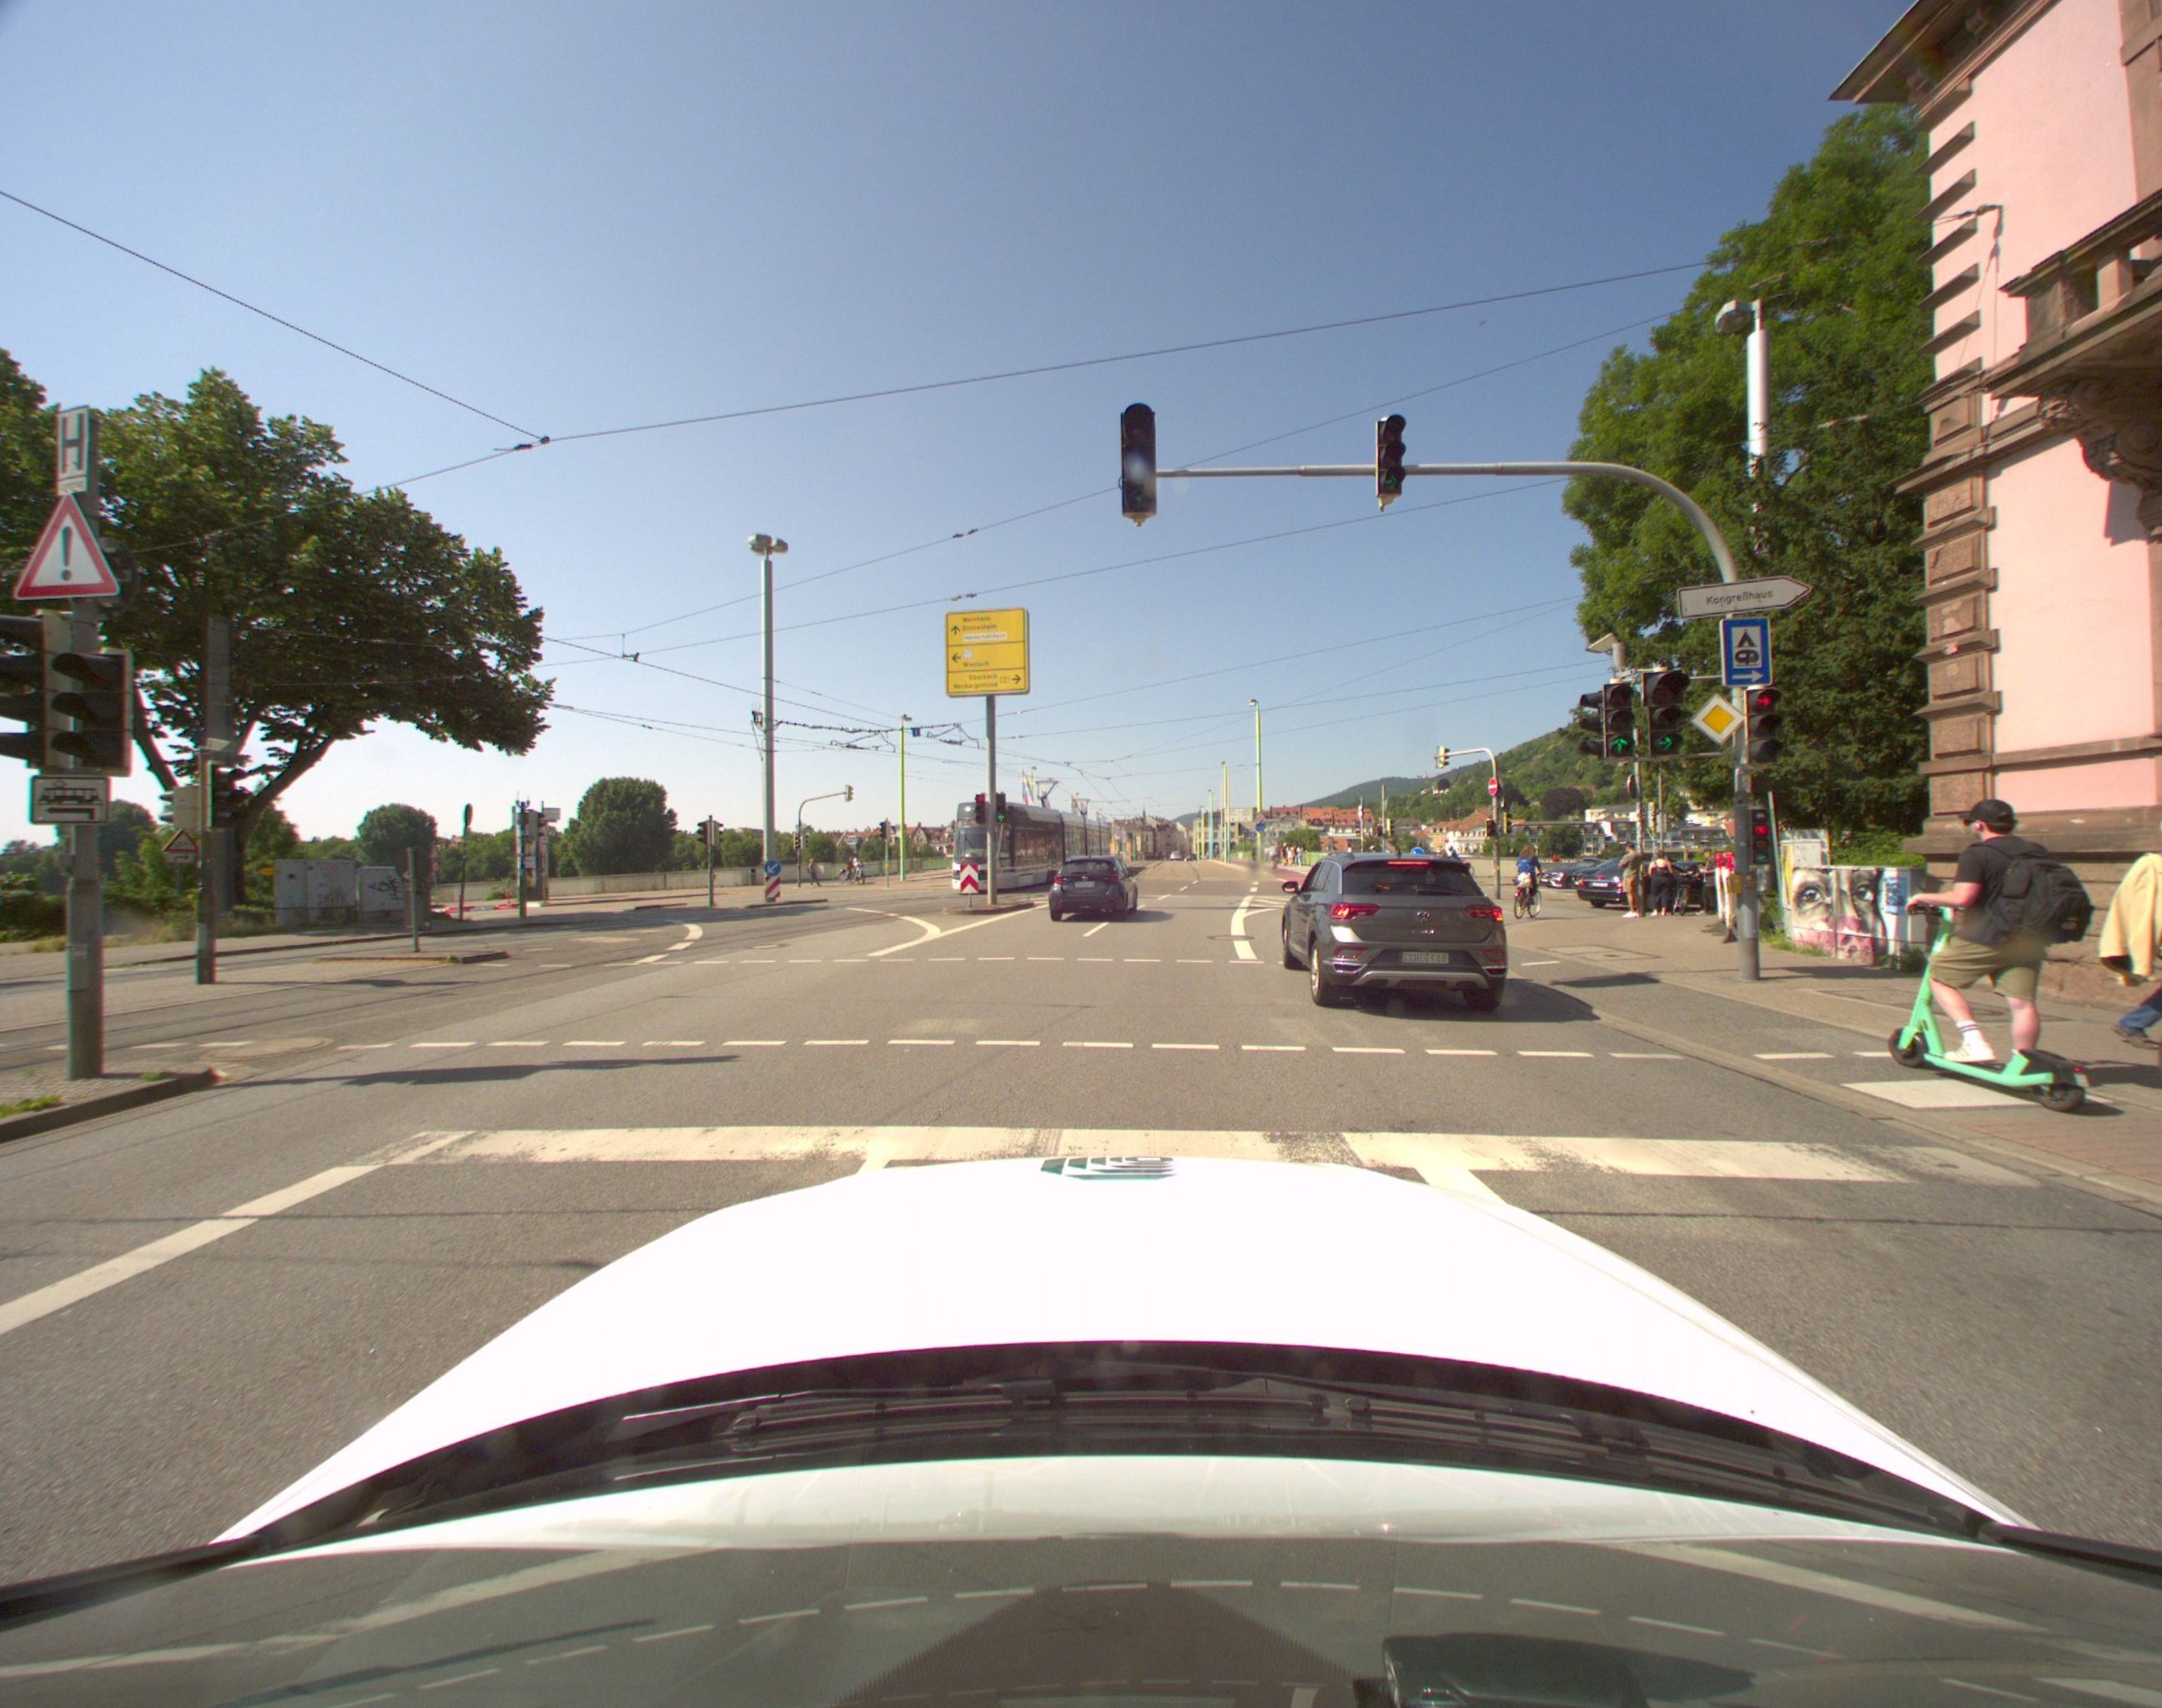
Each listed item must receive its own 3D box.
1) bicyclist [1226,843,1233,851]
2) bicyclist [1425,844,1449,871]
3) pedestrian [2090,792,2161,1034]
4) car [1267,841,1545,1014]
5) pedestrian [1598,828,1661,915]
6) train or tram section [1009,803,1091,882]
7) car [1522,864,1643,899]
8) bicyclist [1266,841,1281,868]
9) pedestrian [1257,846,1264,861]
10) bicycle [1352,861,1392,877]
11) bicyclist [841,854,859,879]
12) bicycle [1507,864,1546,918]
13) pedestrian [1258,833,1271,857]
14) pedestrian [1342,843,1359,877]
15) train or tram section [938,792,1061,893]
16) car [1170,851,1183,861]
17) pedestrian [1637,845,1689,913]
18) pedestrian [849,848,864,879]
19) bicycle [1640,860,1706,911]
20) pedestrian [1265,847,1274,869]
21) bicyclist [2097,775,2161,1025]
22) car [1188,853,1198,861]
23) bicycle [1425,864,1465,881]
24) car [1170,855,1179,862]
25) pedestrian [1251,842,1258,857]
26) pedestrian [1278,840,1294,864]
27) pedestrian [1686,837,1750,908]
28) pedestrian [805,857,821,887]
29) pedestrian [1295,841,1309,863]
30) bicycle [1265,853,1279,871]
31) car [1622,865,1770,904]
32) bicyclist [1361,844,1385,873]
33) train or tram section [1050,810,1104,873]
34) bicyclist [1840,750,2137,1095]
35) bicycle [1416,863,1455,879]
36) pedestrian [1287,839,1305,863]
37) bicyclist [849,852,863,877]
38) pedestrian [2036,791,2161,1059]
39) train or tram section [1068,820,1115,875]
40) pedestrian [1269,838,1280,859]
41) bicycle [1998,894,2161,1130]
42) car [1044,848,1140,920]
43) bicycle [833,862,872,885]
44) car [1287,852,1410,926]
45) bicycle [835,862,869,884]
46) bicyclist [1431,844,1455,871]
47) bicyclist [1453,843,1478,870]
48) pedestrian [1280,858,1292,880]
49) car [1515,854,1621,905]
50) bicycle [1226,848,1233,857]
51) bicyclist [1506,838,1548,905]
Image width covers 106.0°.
[{"bbox_3d":[20.462,-0.942,112.366,0.664,1.045,0.980,-4,0,1],"label":"bicyclist"},{"bbox_3d":[19.695,0.174,45.082,1.072,1.474,0.931,1,1,13],"label":"bicyclist"},{"bbox_3d":[8.165,0.416,5.826,0.703,1.753,0.903,-2,-1,0],"label":"pedestrian"},{"bbox_3d":[3.344,0.655,9.277,1.920,1.516,4.000,-2,0,6],"label":"car"},{"bbox_3d":[13.288,0.412,19.749,0.772,2.013,1.060,-2,0,1],"label":"pedestrian"},{"bbox_3d":[-1.451,-0.624,44.238,2.522,3.777,9.195,-1,1,10],"label":"train or tram section"},{"bbox_3d":[22.871,1.234,37.242,4.463,1.395,1.844,-2,0,-4],"label":"car"},{"bbox_3d":[12.405,0.040,52.482,0.670,1.744,1.151,-1,0,2],"label":"bicyclist"},{"bbox_3d":[18.387,-0.052,83.318,0.646,1.562,0.693,-2,0,8],"label":"pedestrian"},{"bbox_3d":[15.375,0.779,43.067,1.926,0.827,0.567,1,1,10],"label":"bicycle"},{"bbox_3d":[-13.946,0.745,49.116,1.005,1.449,0.811,-2,0,-16],"label":"bicyclist"},{"bbox_3d":[10.586,0.842,19.333,0.609,1.164,2.264,-1,0,34],"label":"bicycle"},{"bbox_3d":[15.234,-0.725,67.683,0.800,2.014,0.954,-1,-1,1],"label":"pedestrian"},{"bbox_3d":[14.911,0.309,45.042,0.769,1.855,0.646,0,0,9],"label":"pedestrian"},{"bbox_3d":[-3.209,-0.474,35.351,2.520,3.777,9.200,-1,0,12],"label":"train or tram section"},{"bbox_3d":[15.621,0.324,133.211,1.796,1.469,4.004,-2,-1,4],"label":"car"},{"bbox_3d":[14.917,0.626,20.887,0.671,1.710,0.893,-2,0,3],"label":"pedestrian"},{"bbox_3d":[-14.856,0.631,53.939,0.900,2.013,0.830,-2,0,-16],"label":"pedestrian"},{"bbox_3d":[14.990,0.819,20.695,0.793,1.206,2.286,-4,-4,23],"label":"bicycle"},{"bbox_3d":[15.168,0.331,65.552,0.547,1.799,0.646,-1,-1,1],"label":"pedestrian"},{"bbox_3d":[5.710,0.213,3.716,0.917,1.219,0.972,-2,0,0],"label":"bicyclist"},{"bbox_3d":[22.163,0.656,161.546,1.793,1.469,4.010,-2,-1,9],"label":"car"},{"bbox_3d":[19.677,0.995,44.061,1.920,0.853,0.569,1,1,30],"label":"bicycle"},{"bbox_3d":[23.953,1.112,209.104,1.984,1.717,4.005,-1,0,4],"label":"car"},{"bbox_3d":[20.835,-0.511,97.800,0.652,1.743,0.978,-1,1,0],"label":"pedestrian"},{"bbox_3d":[15.208,-0.158,60.436,0.981,1.750,0.930,-1,-1,0],"label":"pedestrian"},{"bbox_3d":[16.438,0.483,21.025,1.056,1.781,0.699,0,-4,-9],"label":"pedestrian"},{"bbox_3d":[-15.632,1.050,47.532,0.836,1.697,1.091,-2,0,-18],"label":"pedestrian"},{"bbox_3d":[16.323,-0.140,60.183,0.796,1.635,0.950,-1,0,1],"label":"pedestrian"},{"bbox_3d":[12.610,0.517,53.750,0.787,1.096,3.757,-1,0,12],"label":"bicycle"},{"bbox_3d":[23.049,1.119,30.620,4.293,1.357,1.880,0,1,-4],"label":"car"},{"bbox_3d":[15.459,0.222,43.116,1.073,1.474,0.803,1,1,10],"label":"bicyclist"},{"bbox_3d":[-0.118,-0.819,53.403,2.391,3.681,9.636,-1,1,6],"label":"train or tram section"},{"bbox_3d":[5.756,0.405,5.235,0.938,2.013,0.830,-2,0,0],"label":"bicyclist"},{"bbox_3d":[19.630,0.939,45.128,1.926,0.827,0.567,1,1,10],"label":"bicycle"},{"bbox_3d":[16.417,-0.219,62.169,0.981,1.769,1.254,-2,0,1],"label":"pedestrian"},{"bbox_3d":[-13.828,0.618,50.055,0.825,1.493,0.872,-2,0,-15],"label":"bicyclist"},{"bbox_3d":[7.469,0.458,5.599,0.703,1.769,0.903,-2,0,0],"label":"pedestrian"},{"bbox_3d":[0.968,-0.557,62.409,2.457,3.777,11.871,-1,1,6],"label":"train or tram section"},{"bbox_3d":[15.746,-0.458,66.191,0.693,1.716,0.732,-1,-1,0],"label":"pedestrian"},{"bbox_3d":[5.749,0.809,3.682,0.776,1.102,2.138,-3,0,0],"label":"bicycle"},{"bbox_3d":[0.376,0.657,19.816,1.900,1.540,4.007,-1,0,6],"label":"car"},{"bbox_3d":[-13.793,1.157,49.158,2.241,1.279,0.736,-2,0,-16],"label":"bicycle"},{"bbox_3d":[6.089,0.720,19.062,1.983,1.490,4.294,0,1,7],"label":"car"},{"bbox_3d":[-14.031,1.161,49.994,1.973,1.209,0.636,-2,0,-16],"label":"bicycle"},{"bbox_3d":[19.591,0.182,44.075,1.069,1.474,0.767,1,1,29],"label":"bicyclist"},{"bbox_3d":[20.884,0.137,44.291,1.072,1.474,0.931,1,1,14],"label":"bicyclist"},{"bbox_3d":[15.776,1.173,62.677,0.651,1.650,0.868,-1,-1,2],"label":"pedestrian"},{"bbox_3d":[15.960,0.759,26.618,4.023,1.436,1.976,-2,2,-43],"label":"car"},{"bbox_3d":[20.514,-0.216,112.429,0.692,1.193,2.080,-1,-1,1],"label":"bicycle"},{"bbox_3d":[10.680,0.394,19.494,0.767,1.553,1.066,-1,0,34],"label":"bicyclist"}]
